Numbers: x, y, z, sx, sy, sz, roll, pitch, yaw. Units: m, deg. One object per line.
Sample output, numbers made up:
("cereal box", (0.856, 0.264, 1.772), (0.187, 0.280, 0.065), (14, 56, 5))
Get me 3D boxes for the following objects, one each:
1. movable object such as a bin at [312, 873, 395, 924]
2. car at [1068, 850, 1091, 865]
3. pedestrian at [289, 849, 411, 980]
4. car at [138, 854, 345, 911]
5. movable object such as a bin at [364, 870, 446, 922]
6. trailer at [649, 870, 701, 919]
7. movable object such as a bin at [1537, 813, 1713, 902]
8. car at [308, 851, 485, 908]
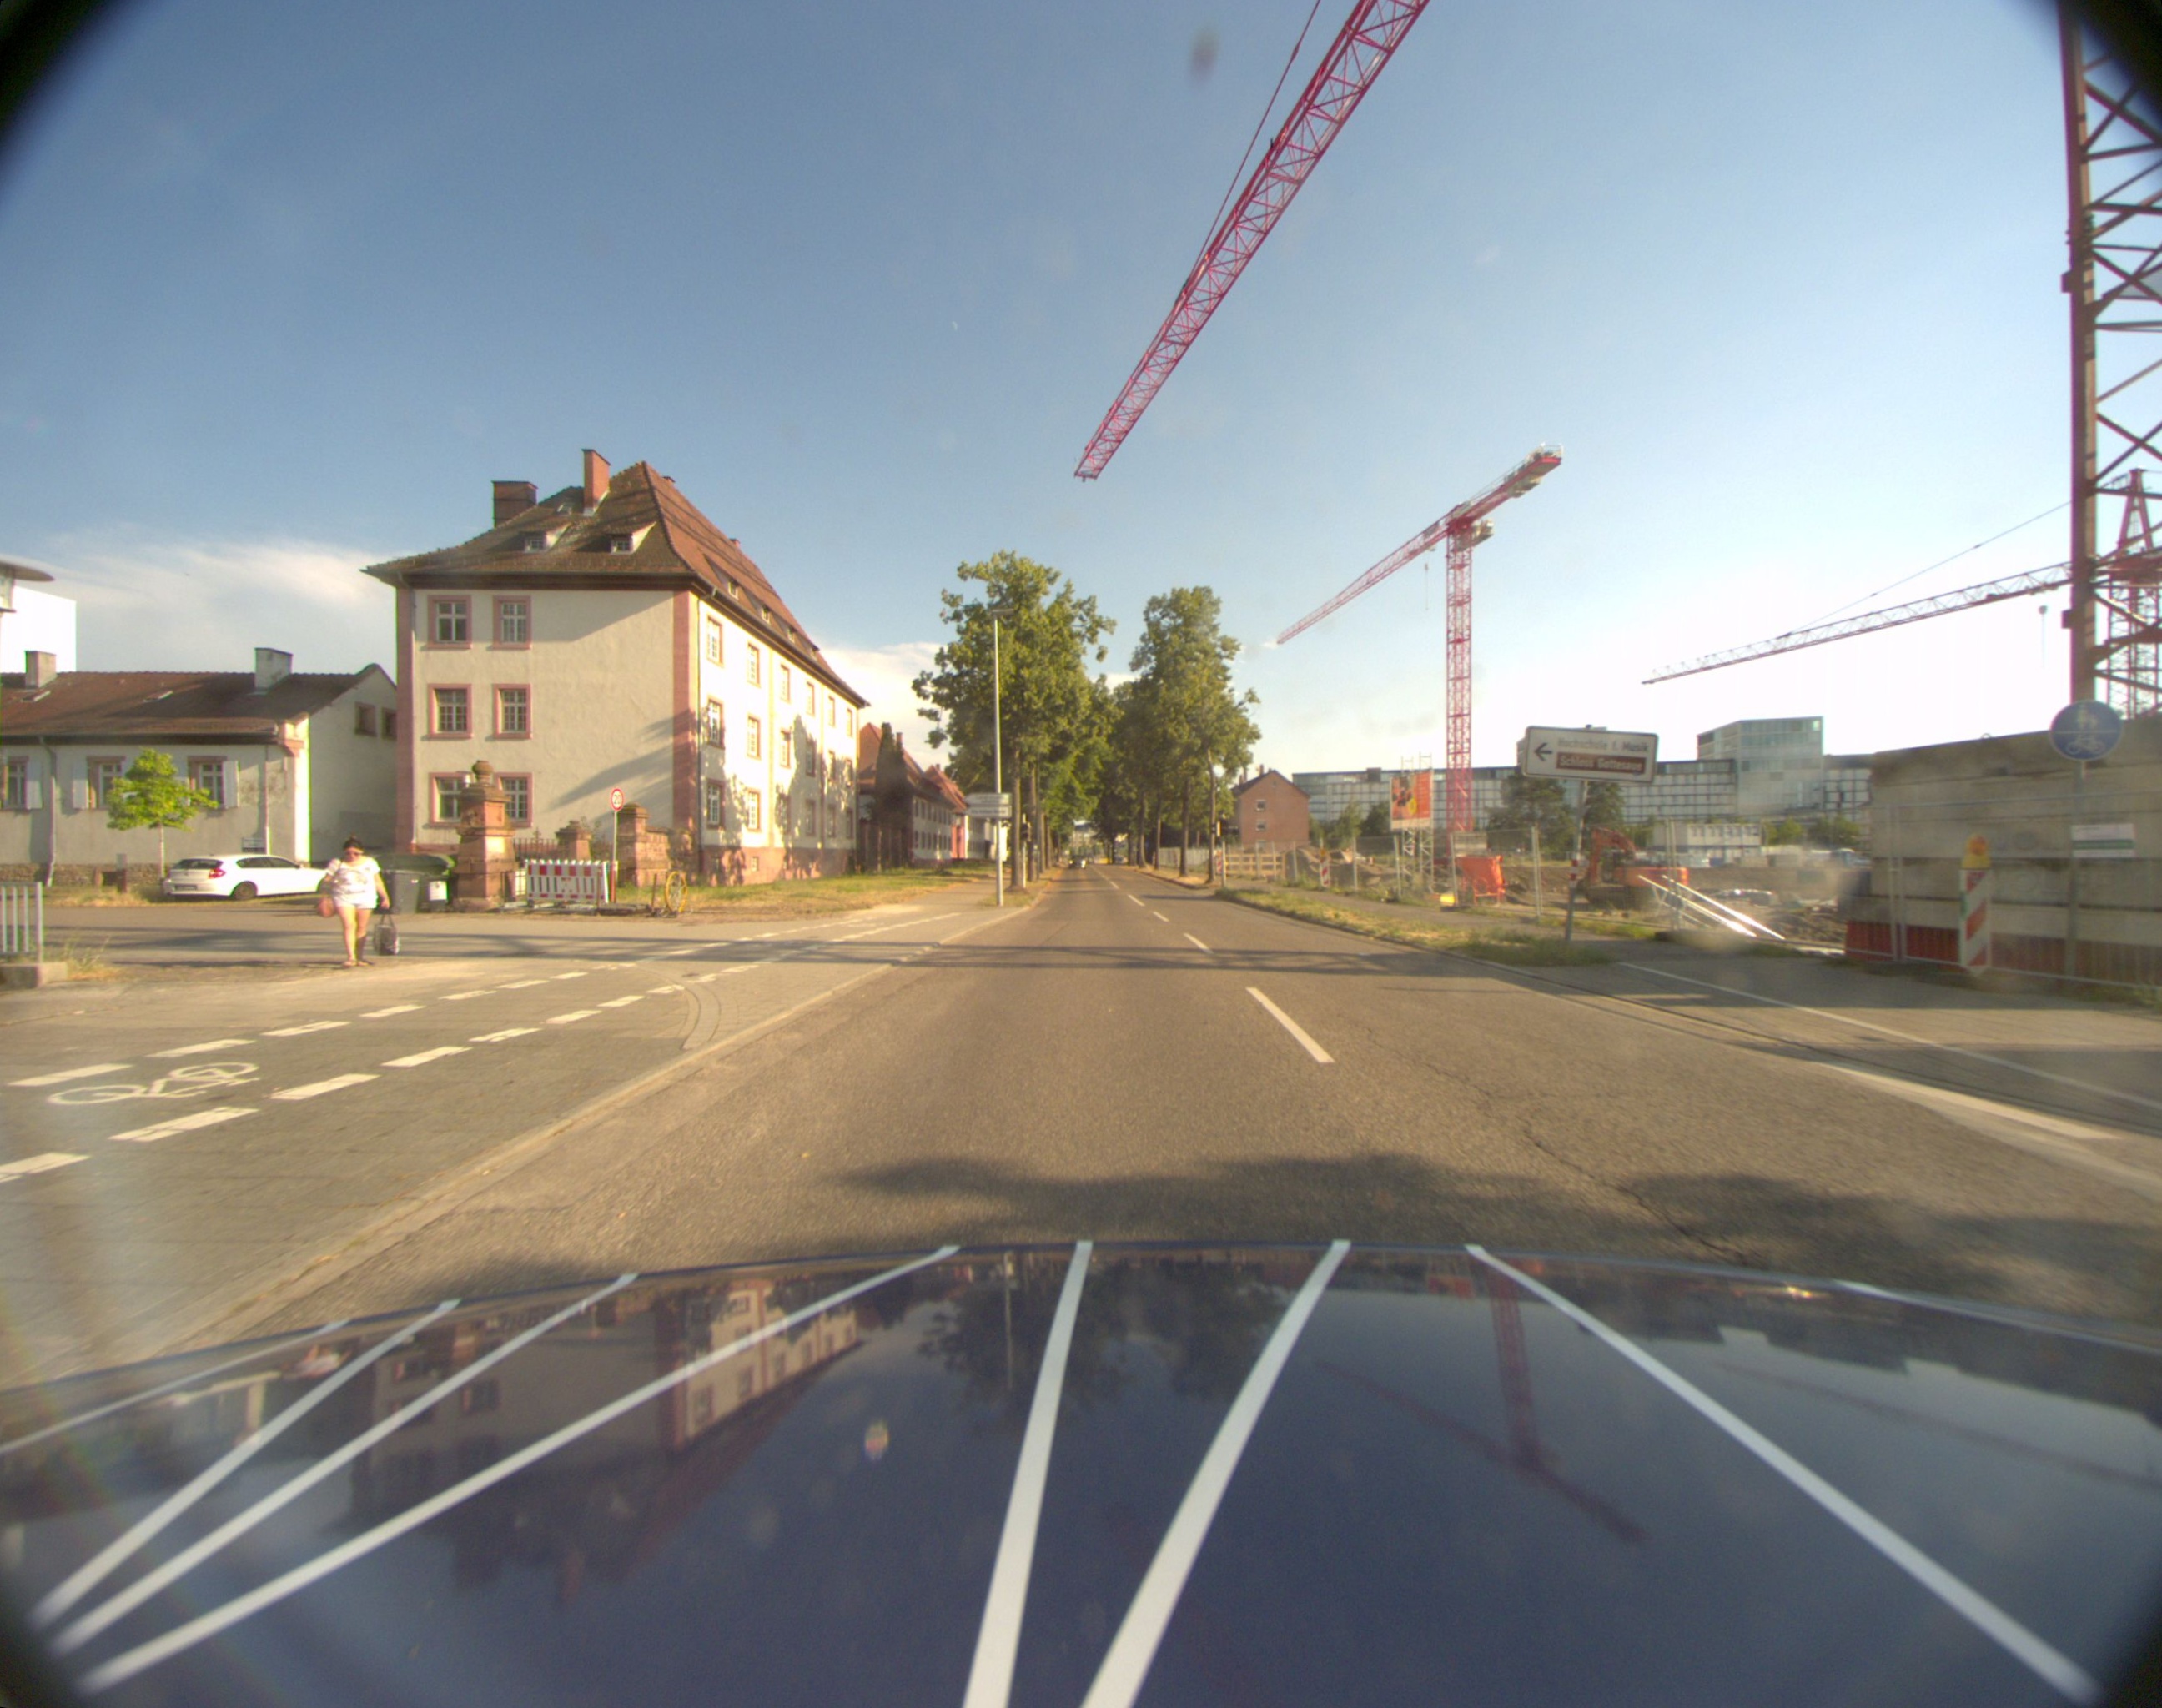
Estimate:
("movable object such as a bin", (-16.855, 1.022, 17.629), (0.985, 1.085, 0.939), (-2, 2, 10))
("car", (-0.165, 0.347, 76.271), (1.776, 1.492, 3.671), (-1, 0, -8))
("pedestrian", (-9.443, 0.750, 9.847), (0.716, 1.602, 0.789), (-3, 2, -5))
("car", (-25.863, 0.809, 23.660), (1.999, 1.445, 3.998), (-2, 1, -2))
("movable object such as a bin", (-15.622, 0.961, 17.578), (0.985, 1.085, 0.939), (-2, 2, 10))
("trailer", (-9.758, 0.963, 18.303), (0.483, 1.061, 1.267), (-2, 2, 2))
("movable object such as a bin", (35.349, 0.054, 50.402), (4.095, 5.035, 12.226), (-2, 1, 7))
("car", (-20.816, 0.714, 23.373), (1.796, 1.445, 3.998), (-2, 1, -2))
